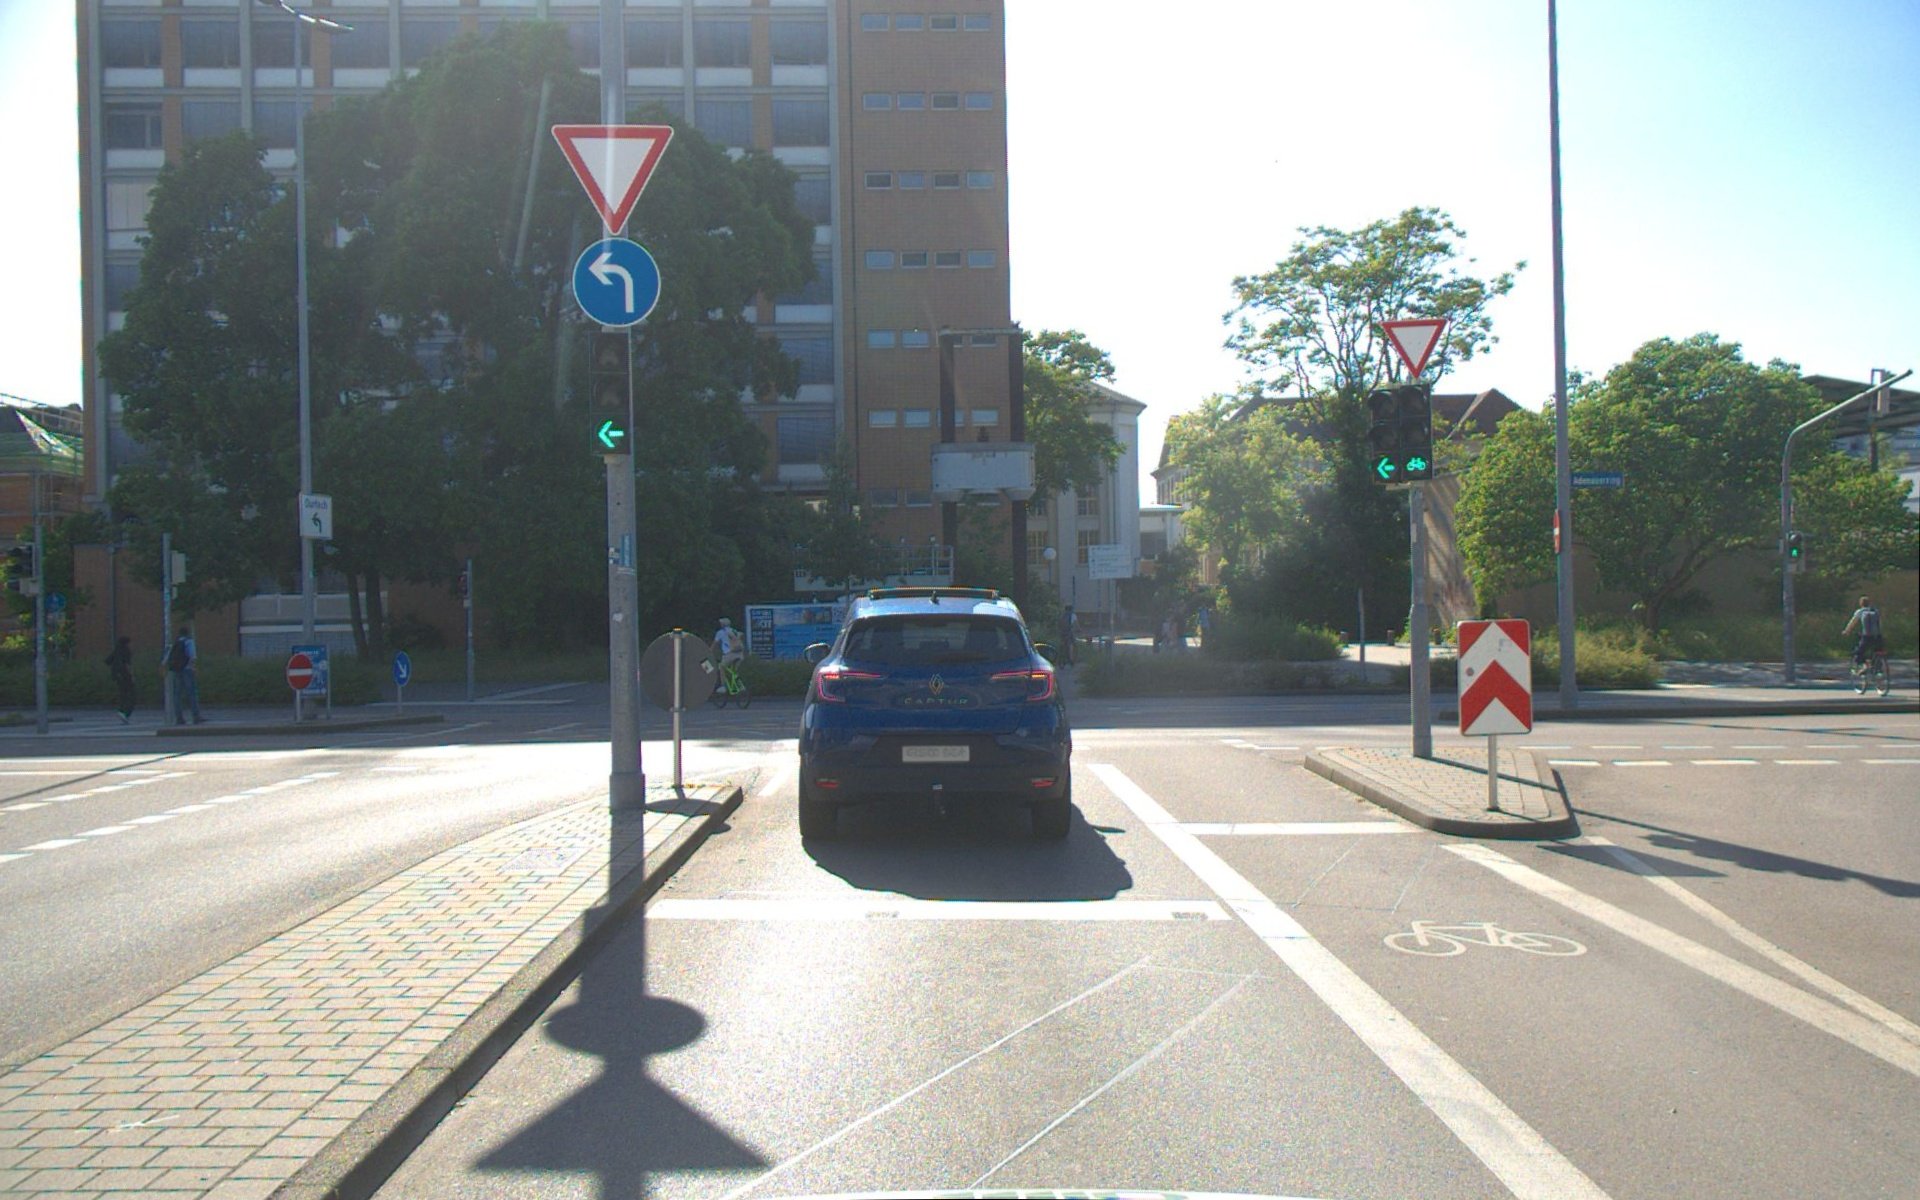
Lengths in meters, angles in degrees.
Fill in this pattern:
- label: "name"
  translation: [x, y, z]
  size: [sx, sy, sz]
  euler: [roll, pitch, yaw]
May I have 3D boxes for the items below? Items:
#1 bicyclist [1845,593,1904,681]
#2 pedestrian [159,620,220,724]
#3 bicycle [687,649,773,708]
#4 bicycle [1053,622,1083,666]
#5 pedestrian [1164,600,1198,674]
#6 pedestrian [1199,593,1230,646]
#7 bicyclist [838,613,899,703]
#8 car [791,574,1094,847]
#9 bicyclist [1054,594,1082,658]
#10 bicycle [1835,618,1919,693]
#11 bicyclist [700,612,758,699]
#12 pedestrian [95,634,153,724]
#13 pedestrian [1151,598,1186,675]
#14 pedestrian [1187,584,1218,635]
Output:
- label: "bicyclist"
  translation: [15.993, 0.638, 28.936]
  size: [0.627, 1.469, 0.777]
  euler: [-2, 1, 8]
- label: "pedestrian"
  translation: [-14.300, 1.330, 30.729]
  size: [0.740, 1.865, 1.093]
  euler: [-1, -2, -9]
- label: "bicycle"
  translation: [-4.832, 1.634, 34.642]
  size: [1.835, 1.185, 0.744]
  euler: [-1, -1, 40]
- label: "bicycle"
  translation: [3.060, 1.230, 46.659]
  size: [0.730, 1.185, 1.871]
  euler: [-1, 0, 7]
- label: "pedestrian"
  translation: [5.522, 0.920, 41.280]
  size: [0.718, 1.813, 0.732]
  euler: [1, -1, 16]
- label: "pedestrian"
  translation: [8.026, 0.612, 52.171]
  size: [0.666, 1.672, 0.731]
  euler: [0, -1, 44]
- label: "bicyclist"
  translation: [-1.713, 1.080, 31.041]
  size: [0.714, 1.645, 0.965]
  euler: [-1, -1, -37]
- label: "car"
  translation: [-0.123, 0.673, 11.936]
  size: [1.838, 1.646, 3.797]
  euler: [0, 0, -1]
- label: "bicyclist"
  translation: [3.058, 0.733, 46.679]
  size: [0.704, 1.765, 0.978]
  euler: [-1, 0, 7]
- label: "bicycle"
  translation: [16.000, 0.950, 28.901]
  size: [0.627, 1.185, 1.872]
  euler: [-2, 1, 8]
- label: "bicyclist"
  translation: [-4.834, 1.150, 34.637]
  size: [0.959, 1.793, 0.718]
  euler: [-2, -1, 40]
- label: "pedestrian"
  translation: [-15.744, 1.482, 31.160]
  size: [0.702, 1.640, 0.682]
  euler: [-2, -1, 7]
- label: "pedestrian"
  translation: [5.087, 0.895, 40.371]
  size: [0.718, 1.848, 0.732]
  euler: [1, -1, 16]
- label: "pedestrian"
  translation: [8.051, 0.329, 54.924]
  size: [0.729, 1.672, 0.668]
  euler: [1, -1, -39]
